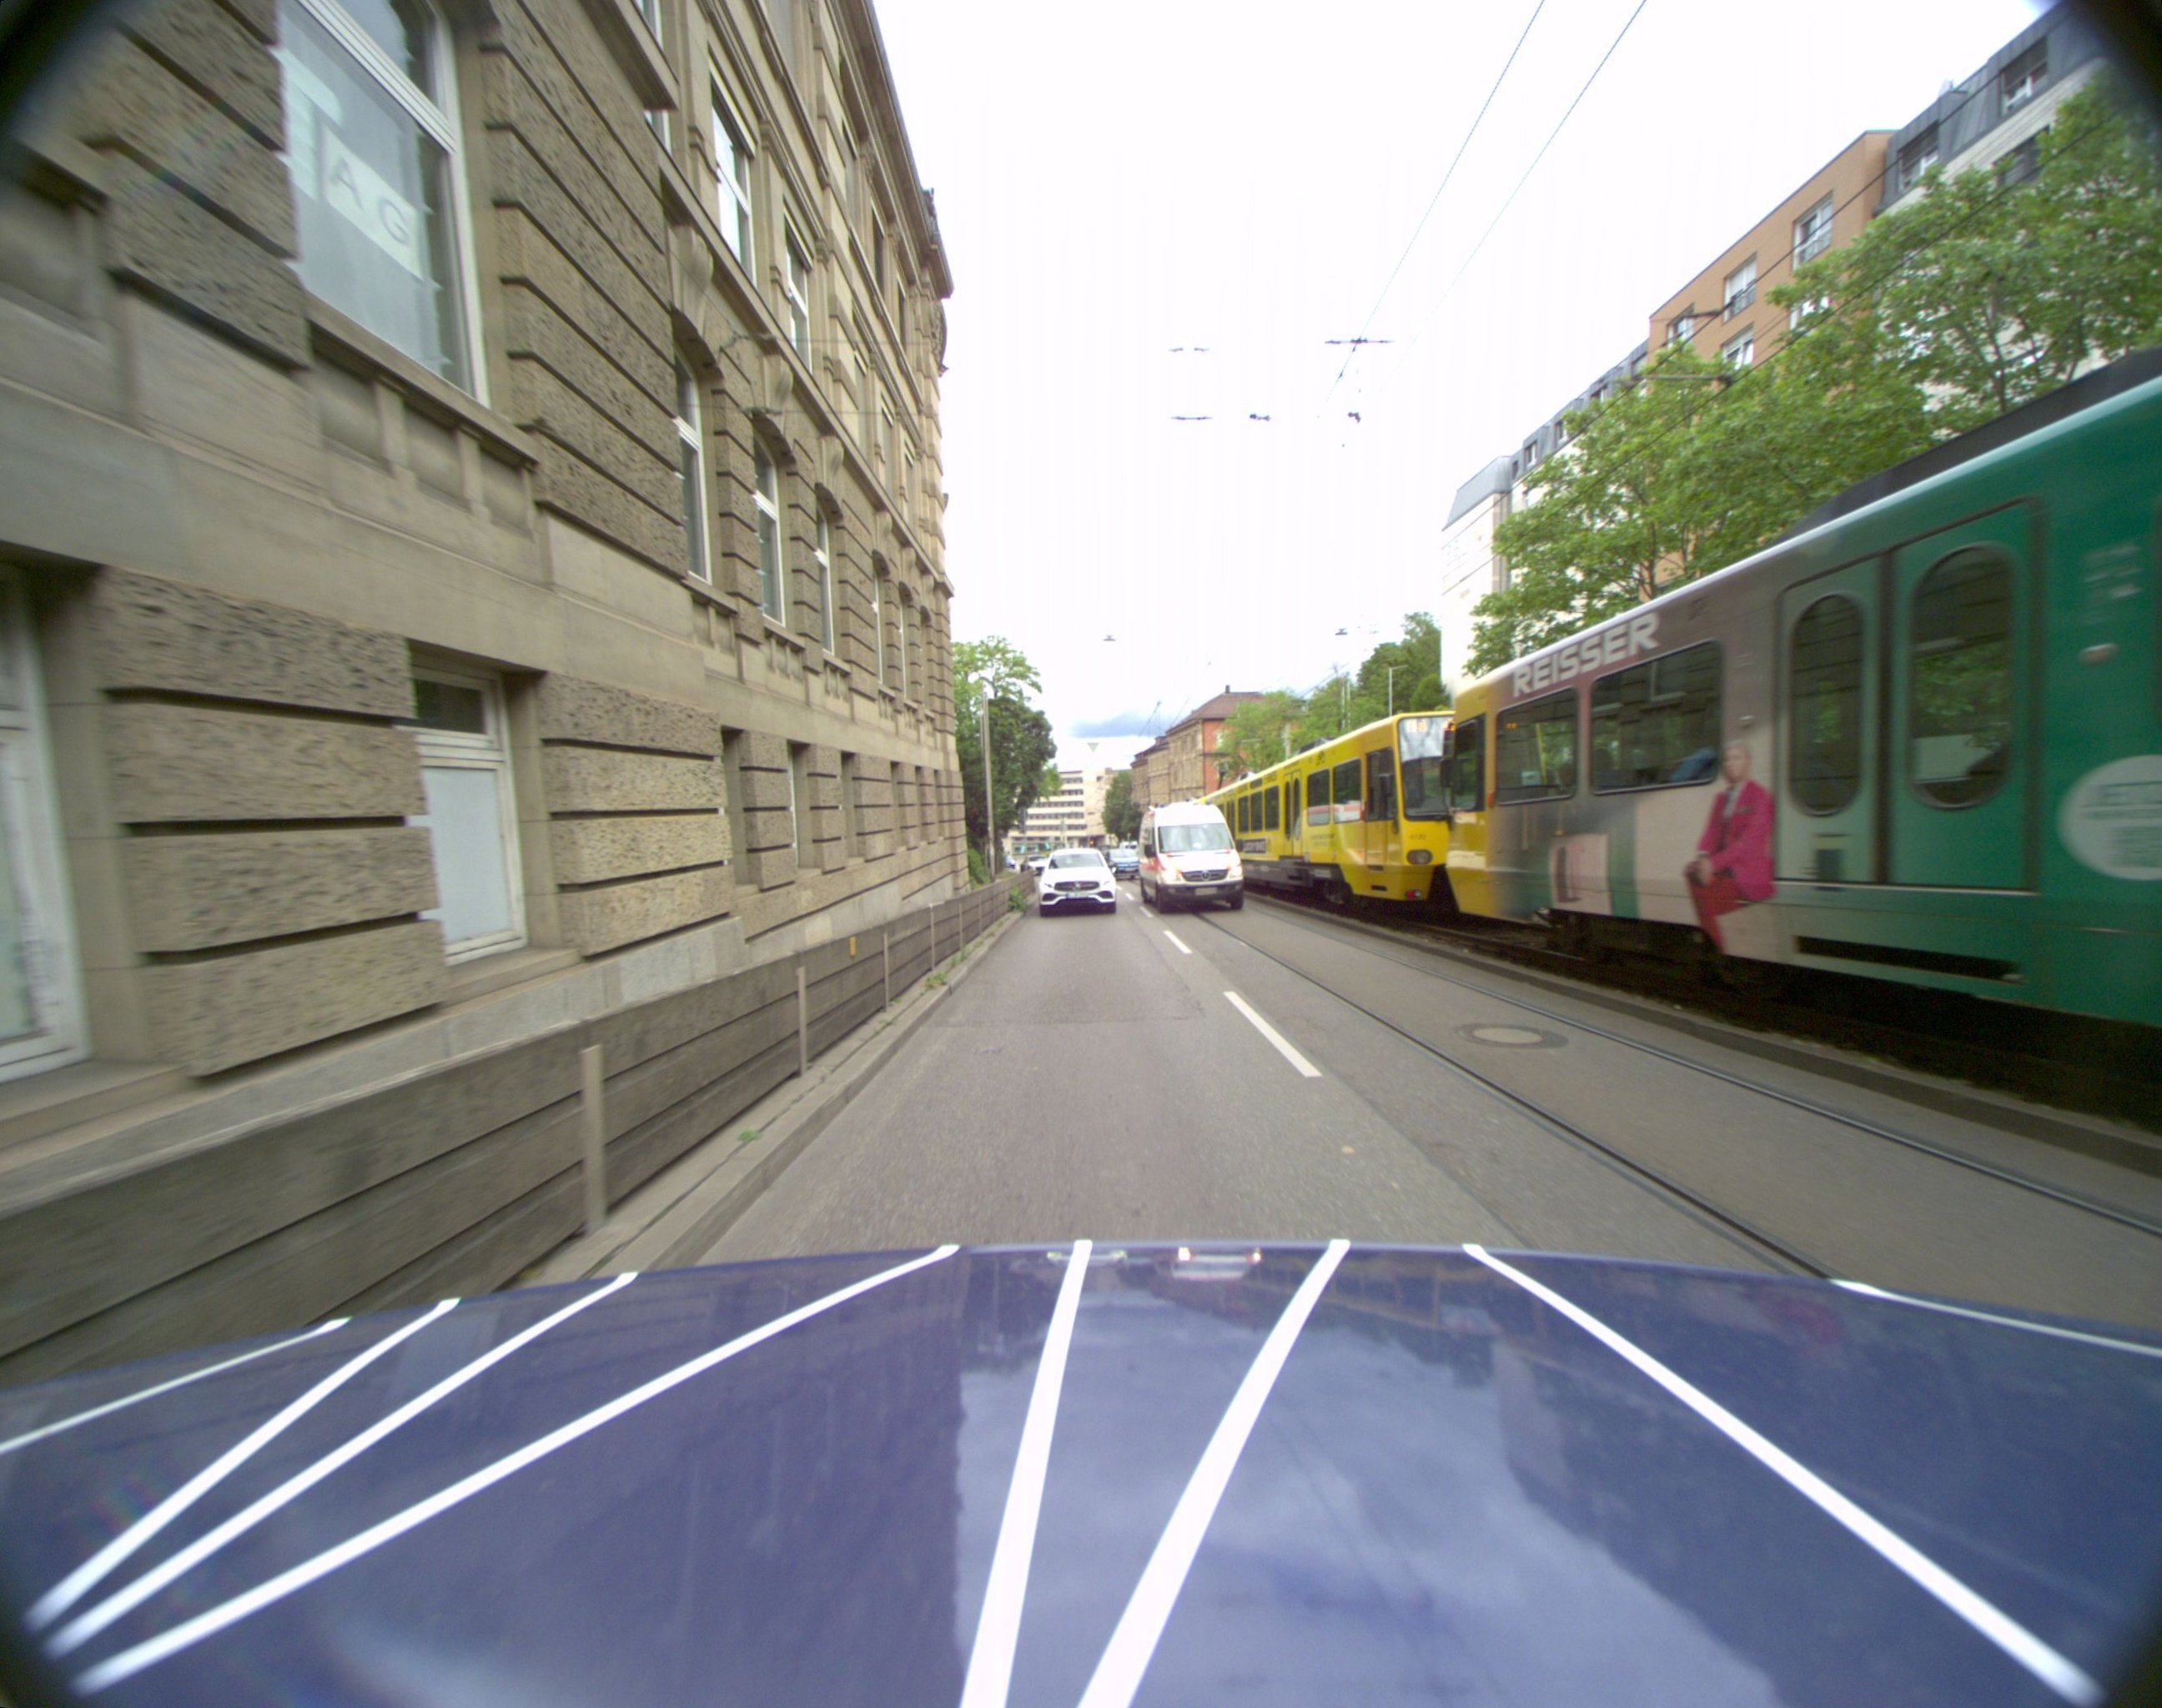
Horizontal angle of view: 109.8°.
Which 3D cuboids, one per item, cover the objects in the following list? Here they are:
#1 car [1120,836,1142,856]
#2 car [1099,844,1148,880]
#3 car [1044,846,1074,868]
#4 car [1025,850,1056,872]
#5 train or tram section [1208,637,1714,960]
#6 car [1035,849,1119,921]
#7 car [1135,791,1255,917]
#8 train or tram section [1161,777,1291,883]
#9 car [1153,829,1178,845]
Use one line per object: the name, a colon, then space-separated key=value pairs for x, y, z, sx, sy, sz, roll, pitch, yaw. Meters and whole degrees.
car: x=7.076 y=-1.125 z=108.344 sx=2.215 sy=2.806 sz=4.781 roll=-2 pitch=0 yaw=-6
car: x=2.091 y=0.377 z=38.370 sx=1.931 sy=1.563 sz=4.179 roll=-4 pitch=0 yaw=-3
car: x=-1.744 y=0.192 z=59.731 sx=1.999 sy=1.543 sz=4.314 roll=-3 pitch=1 yaw=-5
car: x=-2.809 y=0.472 z=52.575 sx=1.823 sy=1.441 sz=3.850 roll=-2 pitch=0 yaw=-7
train or tram section: x=6.144 y=-0.758 z=18.502 sx=2.883 sy=3.704 sz=18.700 roll=-4 pitch=1 yaw=0
car: x=-0.049 y=0.723 z=20.047 sx=1.894 sy=1.610 sz=4.478 roll=-3 pitch=0 yaw=1
car: x=2.732 y=-0.016 z=19.710 sx=2.039 sy=2.684 sz=5.853 roll=-3 pitch=0 yaw=-1
train or tram section: x=6.092 y=-0.938 z=35.318 sx=2.890 sy=3.704 sz=14.853 roll=-4 pitch=1 yaw=0
car: x=9.507 y=-1.910 z=85.782 sx=1.999 sy=1.645 sz=3.998 roll=-3 pitch=1 yaw=-5
